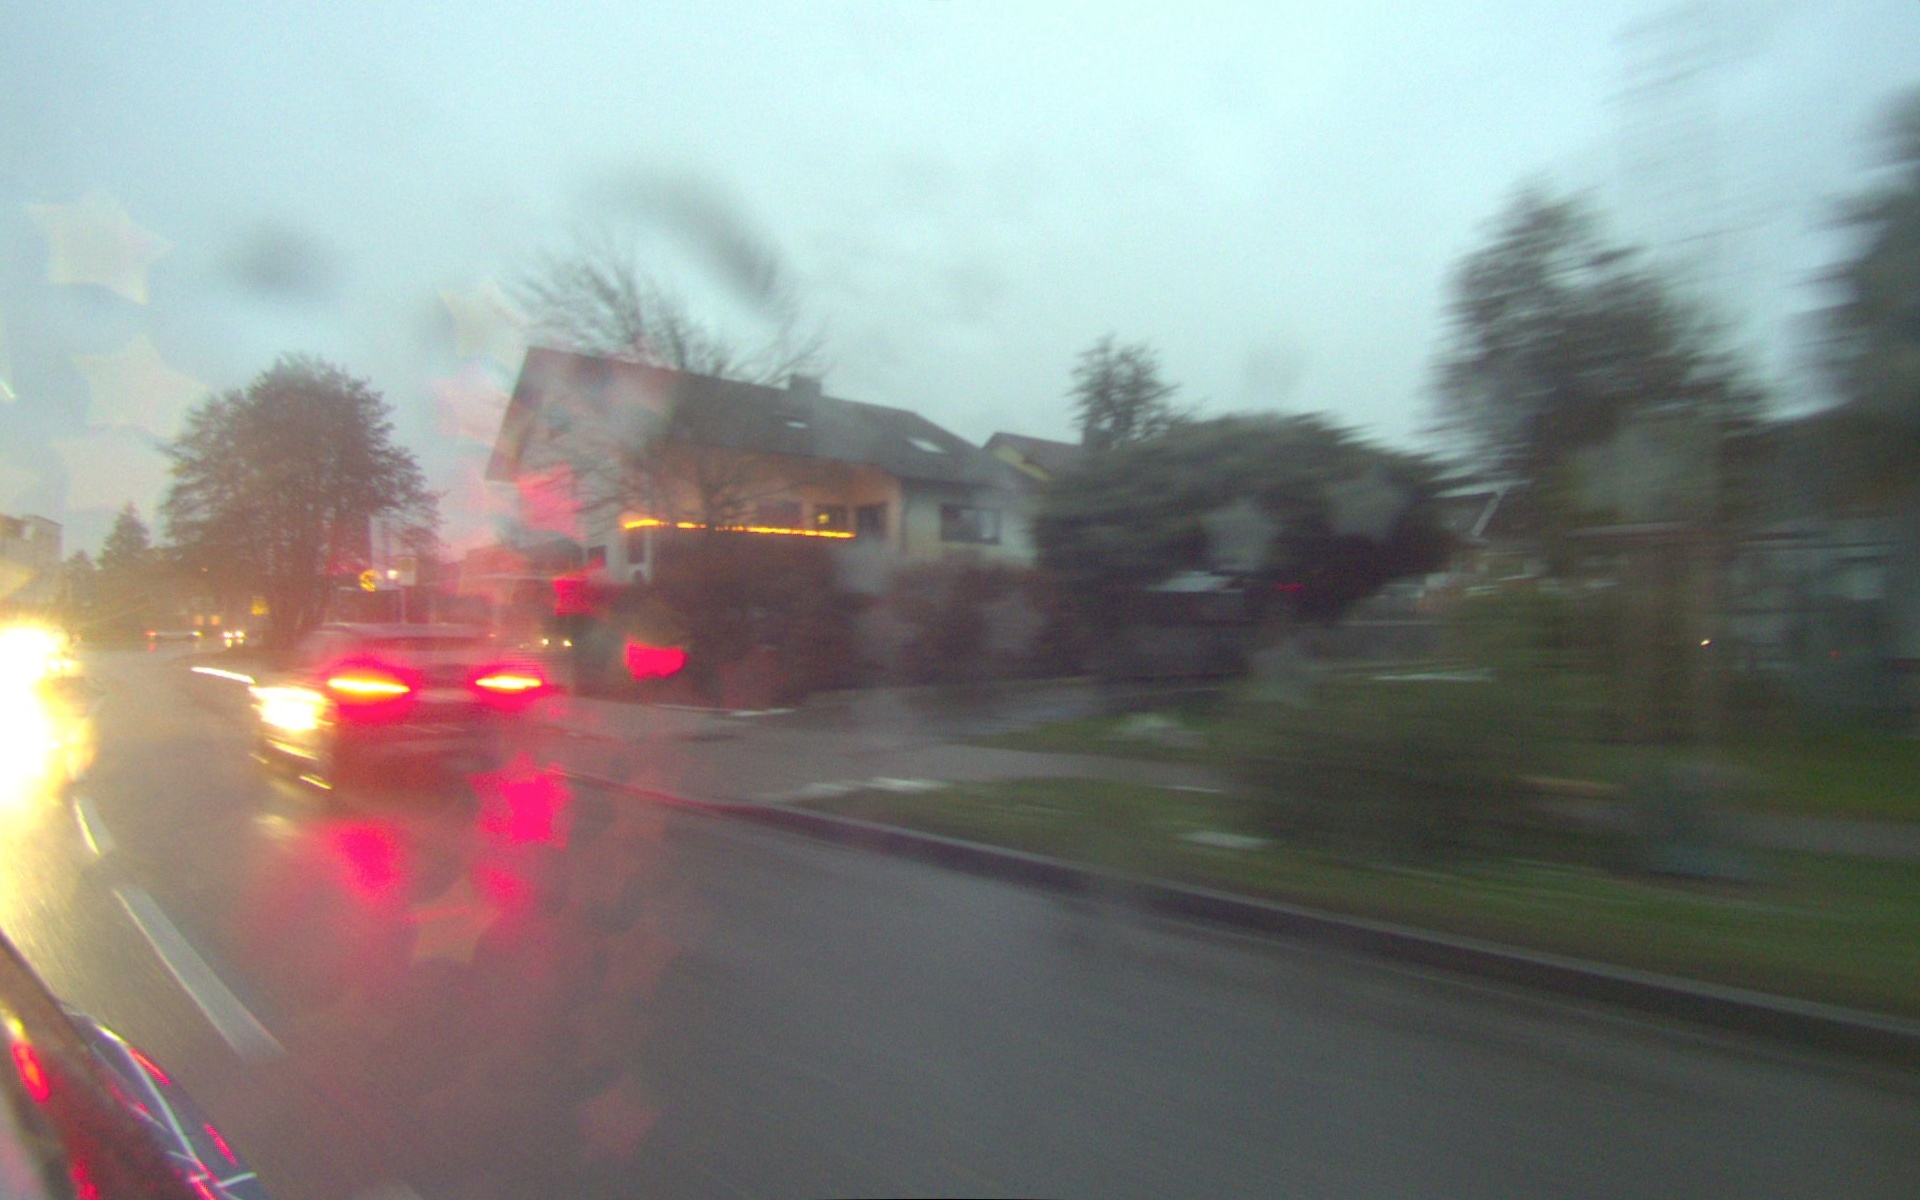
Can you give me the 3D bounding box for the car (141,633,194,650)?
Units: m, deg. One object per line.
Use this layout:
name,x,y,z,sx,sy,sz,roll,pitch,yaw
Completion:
car,-79.250,4.147,101.277,4.118,1.452,1.801,-2,-2,-39

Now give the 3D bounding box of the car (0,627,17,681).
car,-32.744,1.834,33.704,1.871,1.712,4.244,-3,0,-43

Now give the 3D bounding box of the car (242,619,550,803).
car,-6.061,1.028,10.676,1.802,1.566,4.002,3,-4,-45

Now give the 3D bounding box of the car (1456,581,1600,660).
car,18.464,0.614,32.813,5.271,2.359,2.322,0,-1,-40

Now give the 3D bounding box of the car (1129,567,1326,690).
car,6.415,0.608,23.864,5.275,2.580,2.002,0,-1,-44

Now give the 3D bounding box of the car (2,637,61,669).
car,-46.511,2.621,50.772,1.968,1.484,4.007,0,-2,-39

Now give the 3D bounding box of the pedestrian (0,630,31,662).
pedestrian,-57.515,2.791,61.488,1.237,1.880,1.307,3,-3,-31

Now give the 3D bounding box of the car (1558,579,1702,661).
car,21.032,0.592,31.697,5.271,2.359,2.322,0,-1,-40
